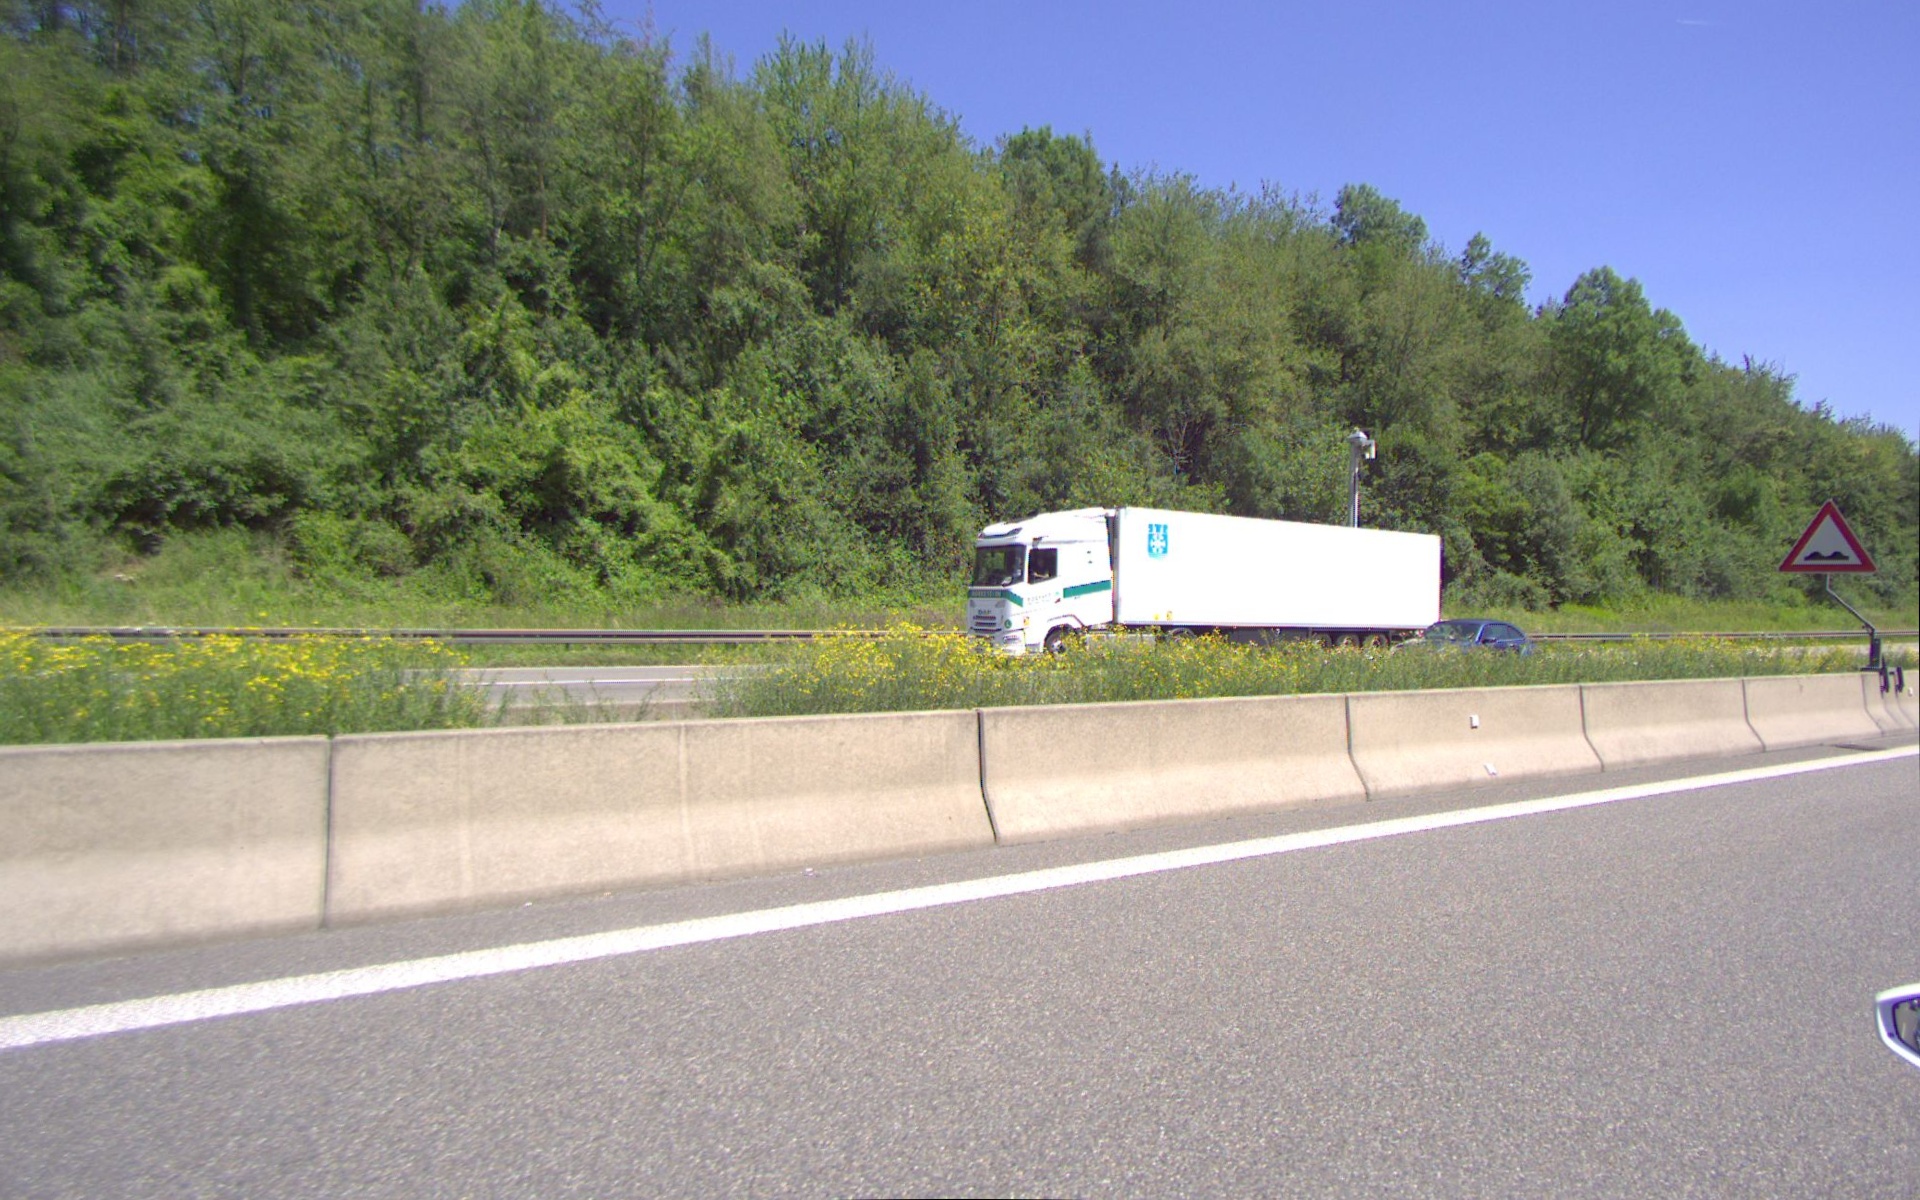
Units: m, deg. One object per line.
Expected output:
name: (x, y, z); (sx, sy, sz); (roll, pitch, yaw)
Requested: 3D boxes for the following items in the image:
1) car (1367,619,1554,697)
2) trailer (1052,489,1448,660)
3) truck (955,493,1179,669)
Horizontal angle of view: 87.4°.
car: (11.450, 1.293, 22.931); (3.954, 1.593, 1.984); (2, -1, -31)
trailer: (9.122, -0.422, 29.947); (13.775, 4.263, 2.701); (2, -1, -31)
truck: (2.802, -0.374, 26.077); (5.144, 4.144, 2.676); (2, 0, -31)
